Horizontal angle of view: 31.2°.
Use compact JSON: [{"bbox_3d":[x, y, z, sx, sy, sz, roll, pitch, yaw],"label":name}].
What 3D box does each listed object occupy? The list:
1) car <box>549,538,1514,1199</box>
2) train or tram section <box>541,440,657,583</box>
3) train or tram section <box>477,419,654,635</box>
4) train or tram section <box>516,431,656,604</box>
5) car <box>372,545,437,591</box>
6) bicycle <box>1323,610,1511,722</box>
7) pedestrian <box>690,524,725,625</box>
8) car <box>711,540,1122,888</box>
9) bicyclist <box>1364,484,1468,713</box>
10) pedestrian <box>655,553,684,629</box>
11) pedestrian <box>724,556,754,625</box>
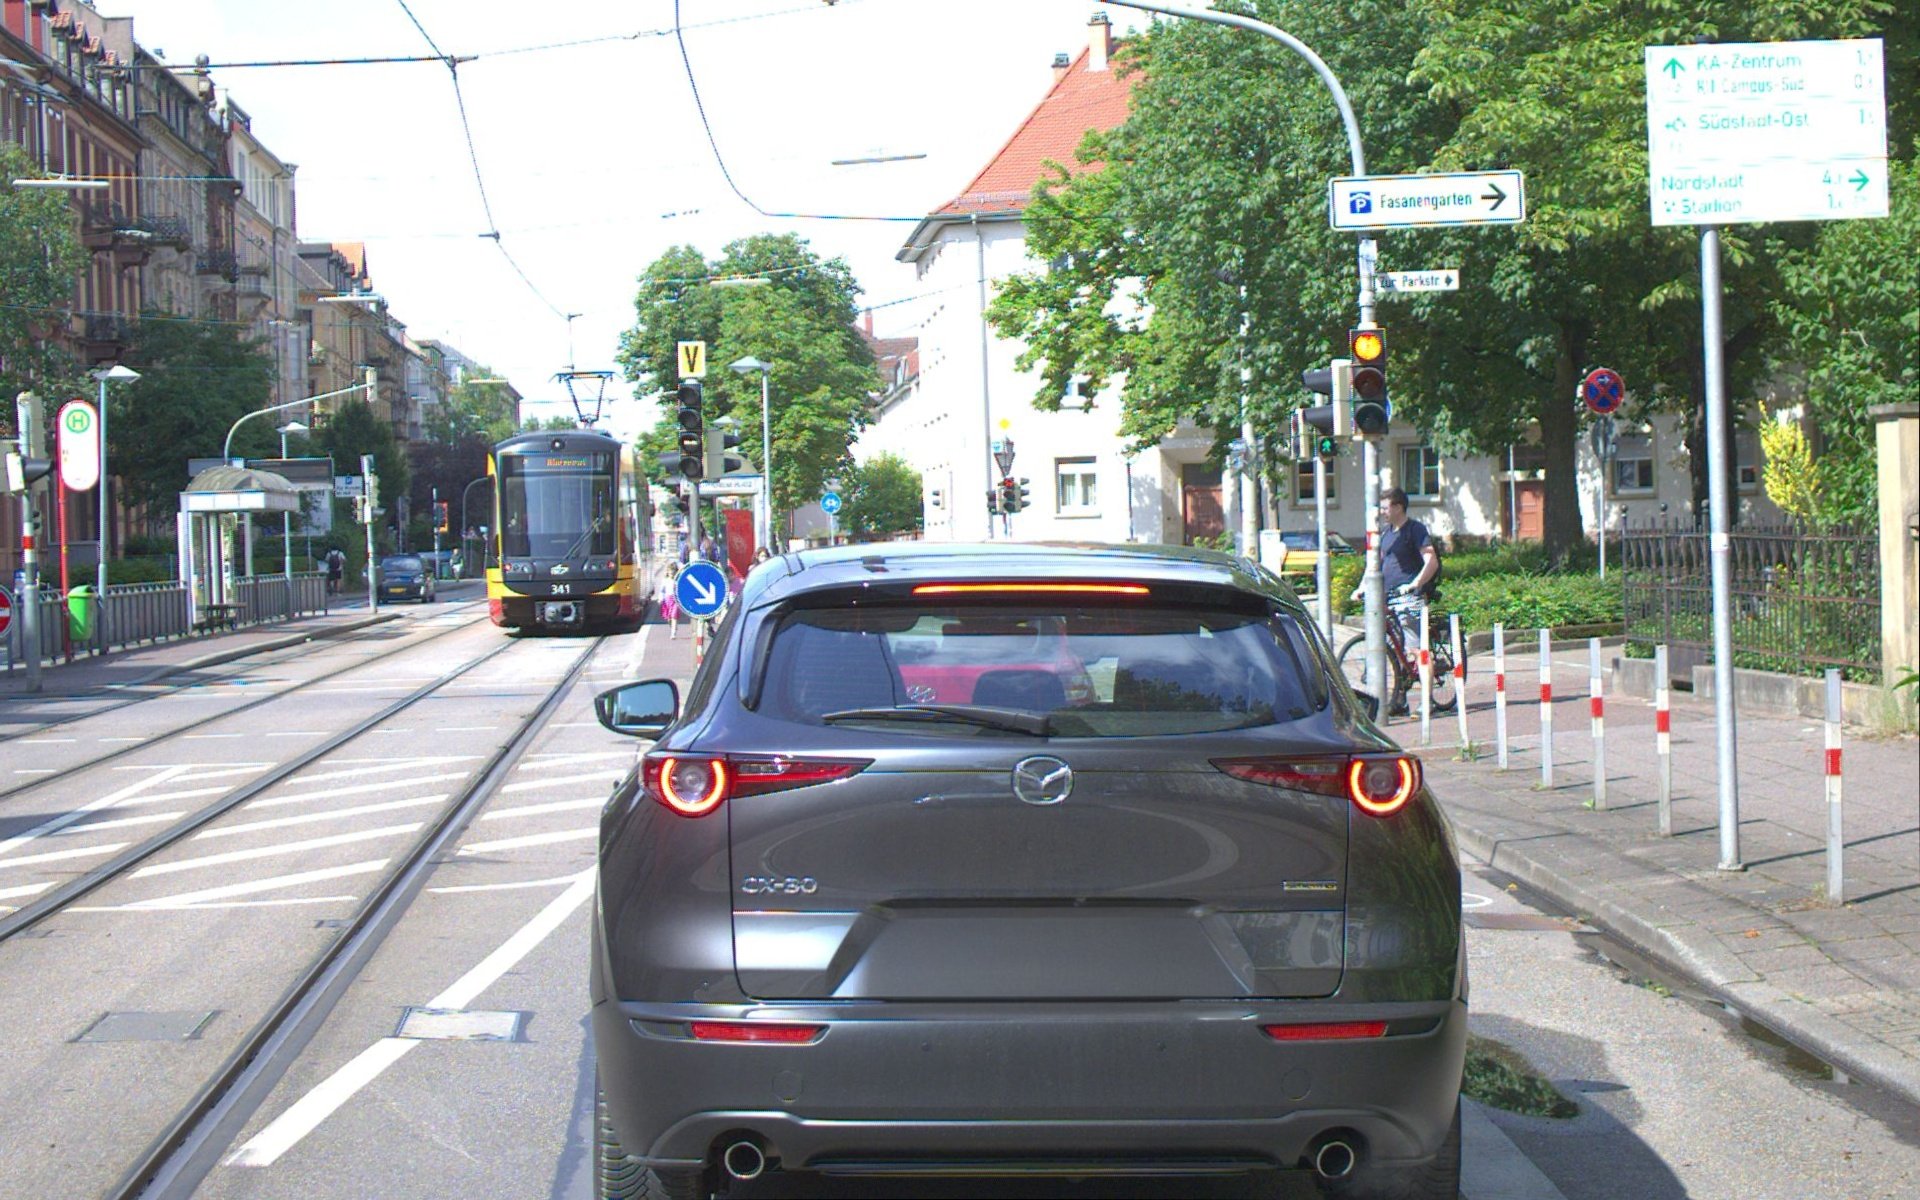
[{"bbox_3d":[0.087,0.610,8.377,1.778,1.494,4.000,1,1,-1],"label":"car"},{"bbox_3d":[-9.571,-2.440,92.400,2.752,3.478,14.411,-2,2,-5],"label":"train or tram section"},{"bbox_3d":[-7.121,-1.454,63.690,2.752,3.478,14.411,-2,2,-5],"label":"train or tram section"},{"bbox_3d":[-8.342,-1.947,78.029,2.752,3.478,14.411,-2,2,-5],"label":"train or tram section"},{"bbox_3d":[-16.657,-0.971,103.216,1.614,1.305,3.628,-1,1,-4],"label":"car"},{"bbox_3d":[3.681,0.516,27.611,1.694,0.821,0.494,-2,1,-42],"label":"bicycle"},{"bbox_3d":[-3.625,-0.364,49.298,0.450,1.429,0.474,-2,1,-5],"label":"pedestrian"},{"bbox_3d":[-0.235,0.463,17.000,1.778,1.494,4.000,1,1,-1],"label":"car"},{"bbox_3d":[3.629,-0.020,27.400,0.608,1.786,0.658,-2,1,-11],"label":"bicyclist"},{"bbox_3d":[-4.149,-0.132,49.156,0.379,1.067,0.474,-2,1,-5],"label":"pedestrian"},{"bbox_3d":[-3.174,-0.140,49.357,0.379,0.981,0.474,-2,1,-5],"label":"pedestrian"}]
